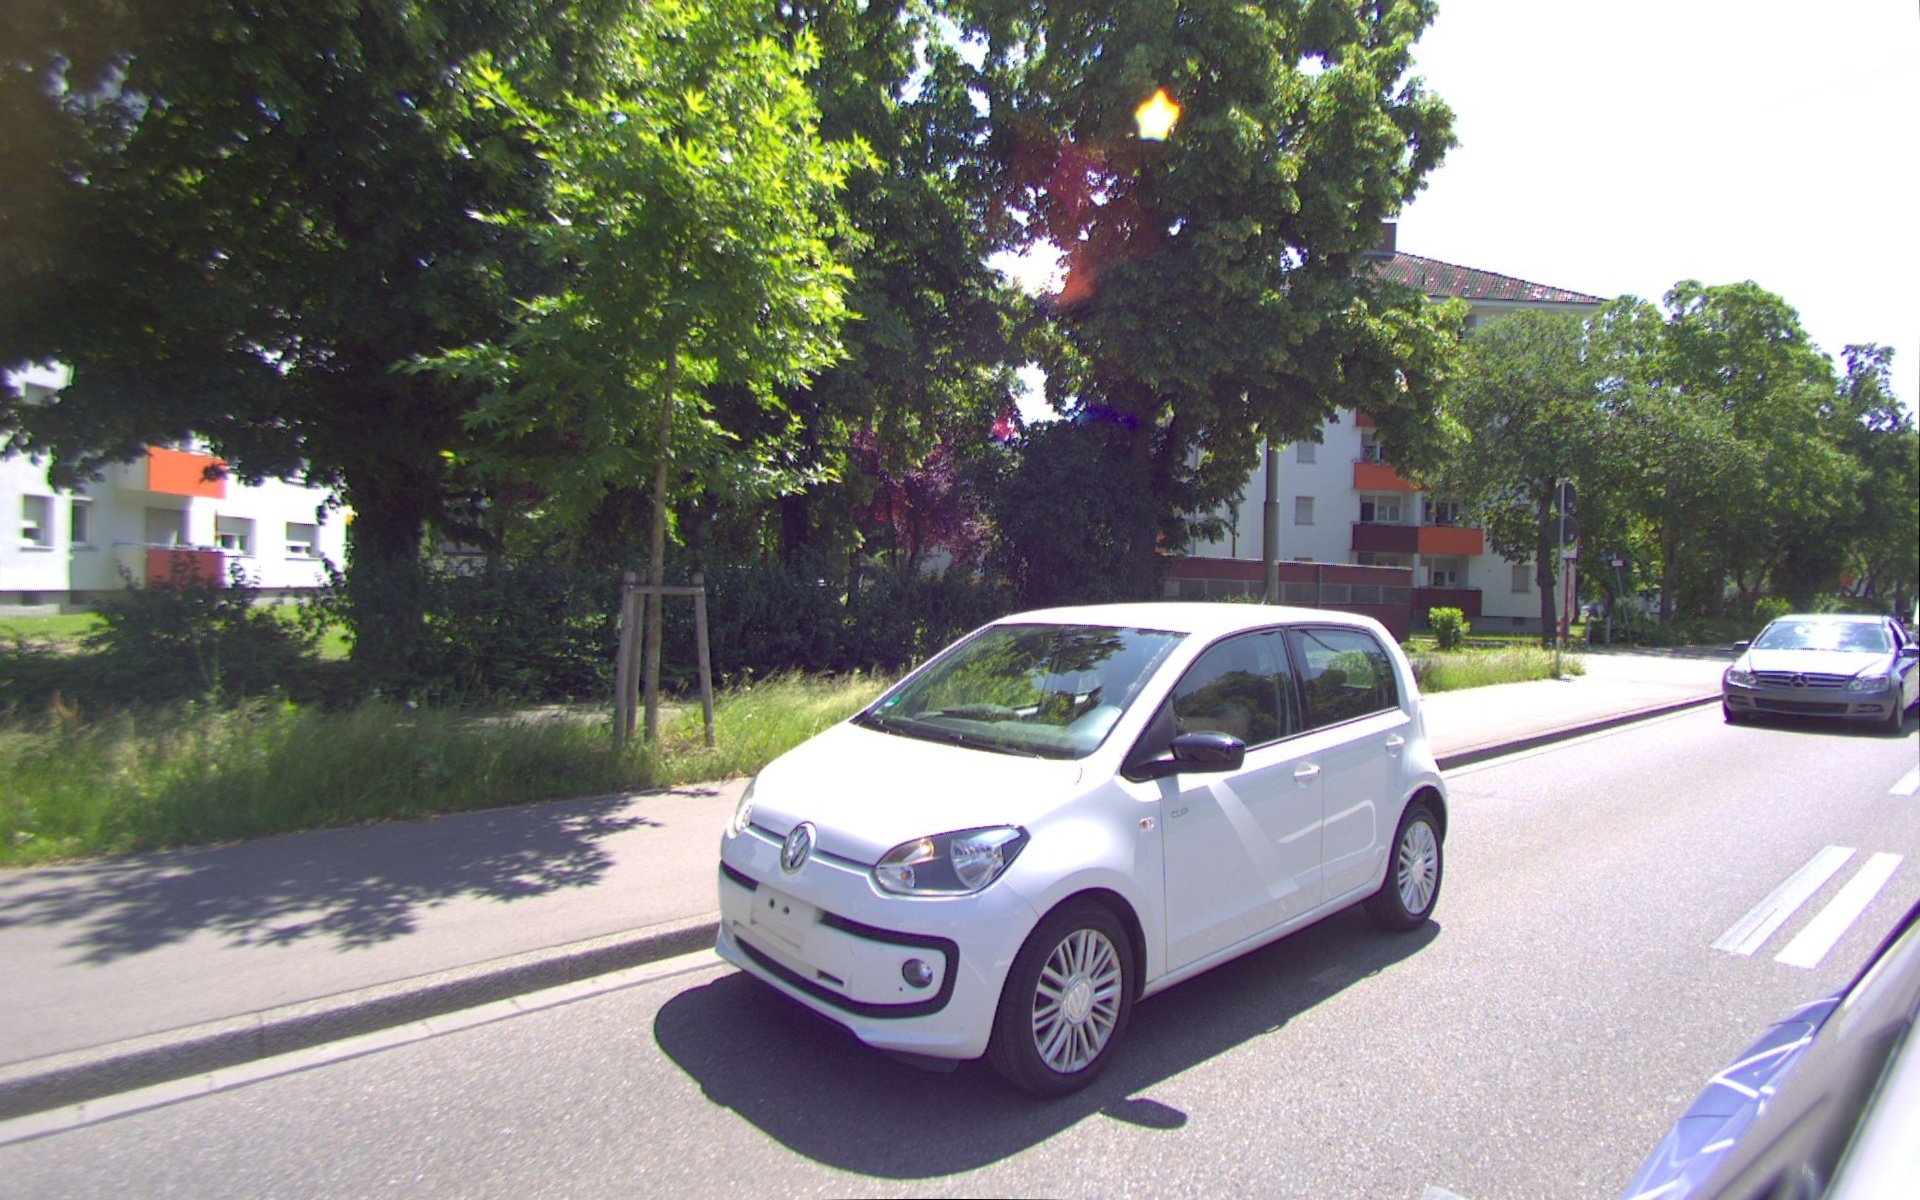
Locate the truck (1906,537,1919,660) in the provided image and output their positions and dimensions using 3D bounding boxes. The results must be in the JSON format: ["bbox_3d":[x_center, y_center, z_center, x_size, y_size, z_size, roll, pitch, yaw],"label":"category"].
[{"bbox_3d":[29.576,-0.020,28.990,8.158,3.319,2.295,0,1,-38],"label":"truck"}]

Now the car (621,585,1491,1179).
[{"bbox_3d":[0.700,0.696,4.404,3.788,1.468,1.661,0,0,-42],"label":"car"}]

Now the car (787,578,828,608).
[{"bbox_3d":[-9.335,-0.444,62.226,1.841,1.746,3.925,1,1,1],"label":"car"}]

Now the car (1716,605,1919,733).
[{"bbox_3d":[11.940,0.814,13.783,3.902,1.478,1.901,0,0,-42],"label":"car"}]
